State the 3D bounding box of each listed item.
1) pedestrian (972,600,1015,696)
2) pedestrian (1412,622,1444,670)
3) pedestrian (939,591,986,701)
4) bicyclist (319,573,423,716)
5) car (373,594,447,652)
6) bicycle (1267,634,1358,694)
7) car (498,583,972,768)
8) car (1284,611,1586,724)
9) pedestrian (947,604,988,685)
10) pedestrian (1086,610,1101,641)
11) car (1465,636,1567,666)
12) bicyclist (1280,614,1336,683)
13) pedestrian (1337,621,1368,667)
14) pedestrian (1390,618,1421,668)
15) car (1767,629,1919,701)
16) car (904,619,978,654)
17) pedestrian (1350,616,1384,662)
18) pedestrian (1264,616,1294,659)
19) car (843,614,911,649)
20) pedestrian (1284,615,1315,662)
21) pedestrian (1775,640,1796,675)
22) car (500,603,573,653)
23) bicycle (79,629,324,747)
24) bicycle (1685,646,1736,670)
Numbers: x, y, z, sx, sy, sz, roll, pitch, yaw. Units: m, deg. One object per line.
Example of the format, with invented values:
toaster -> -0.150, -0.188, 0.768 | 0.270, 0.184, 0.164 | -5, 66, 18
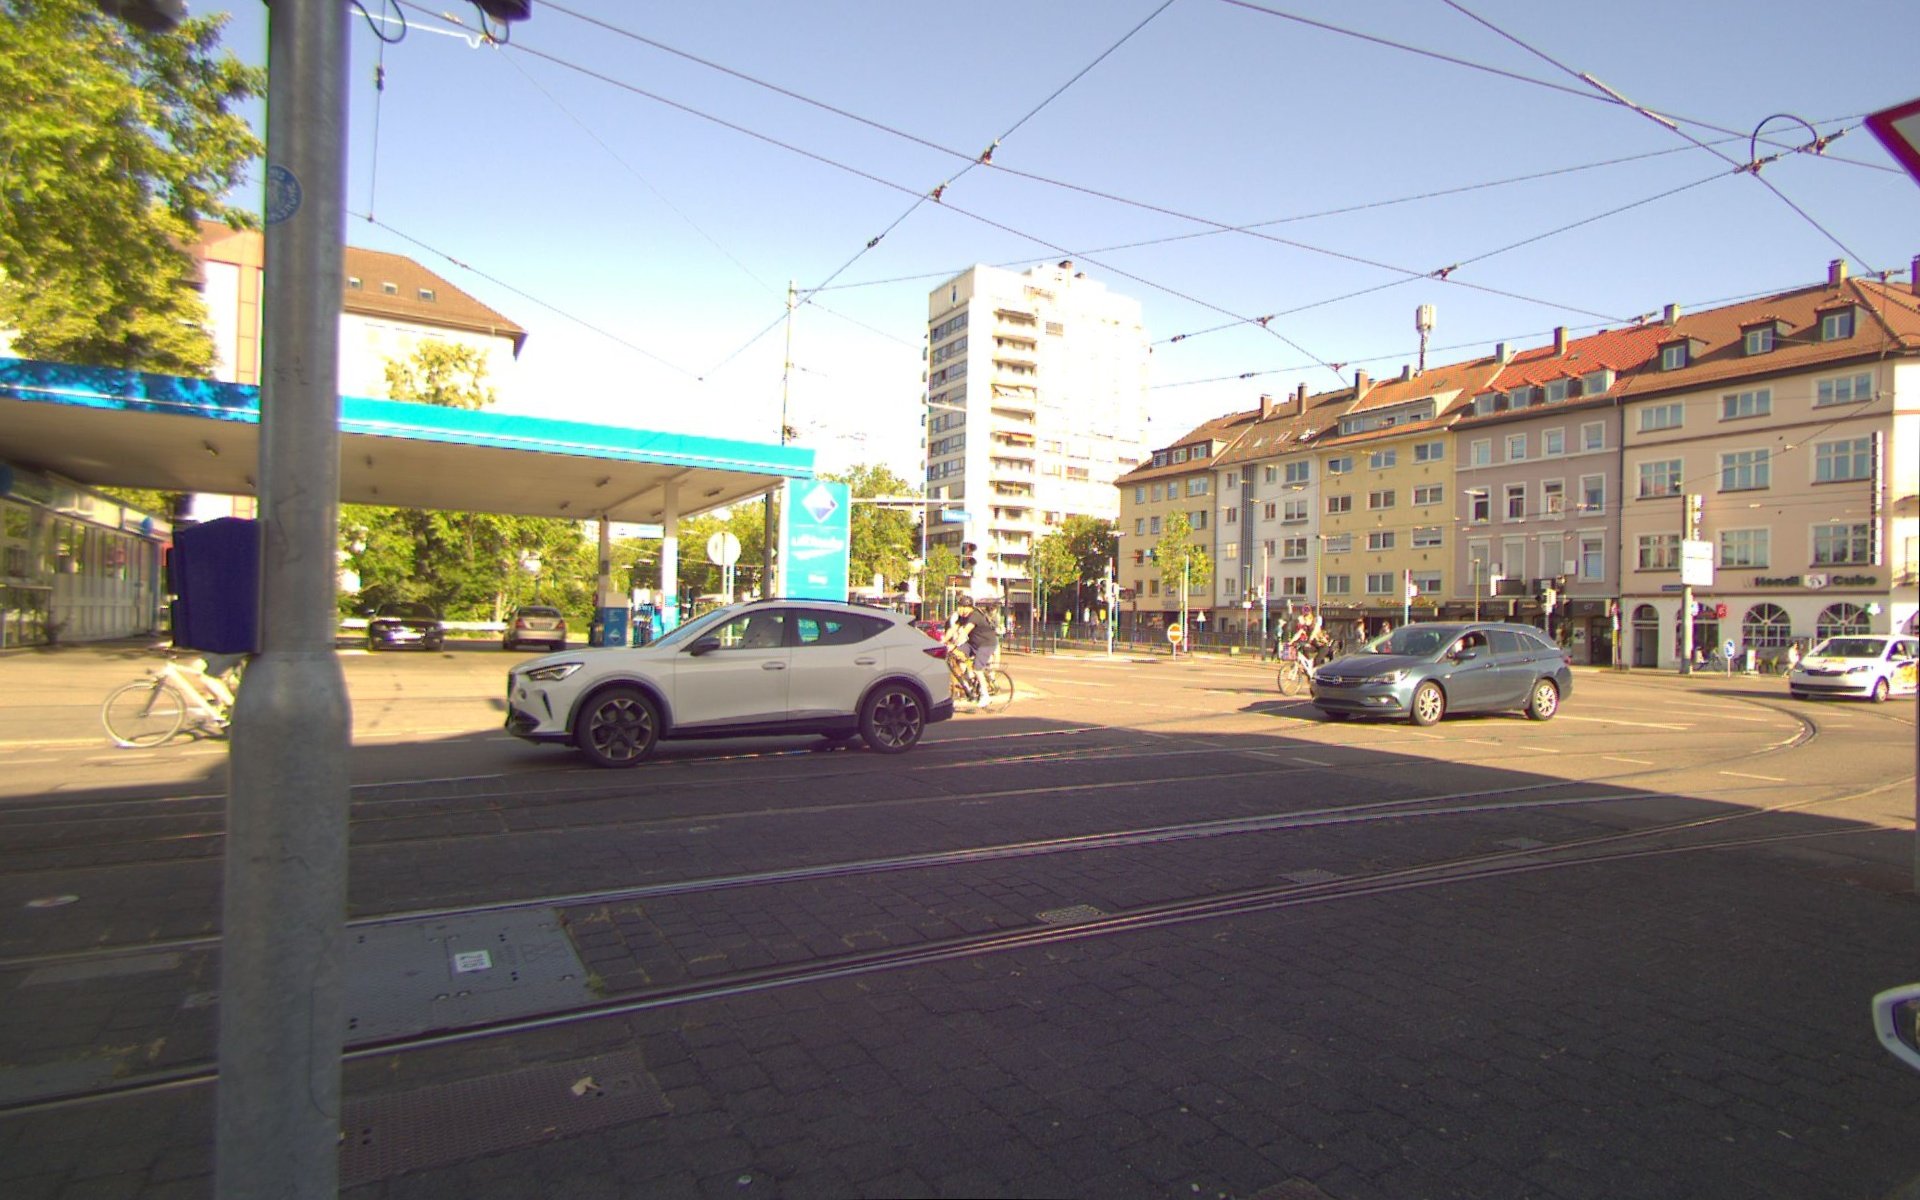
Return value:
pedestrian -> 0.644, 0.927, 19.661 | 0.727, 1.825, 0.742 | 1, -1, -5
pedestrian -> 17.628, 1.719, 37.812 | 0.815, 1.756, 0.781 | 2, -1, -35
pedestrian -> 0.038, 0.828, 18.181 | 0.577, 1.951, 0.626 | 2, -1, -29
bicyclist -> -6.810, 0.505, 11.657 | 0.975, 1.580, 0.711 | 2, -1, -30
car -> -15.634, 0.633, 28.515 | 1.697, 1.505, 4.186 | 2, -1, -30
bicycle -> 7.148, 1.296, 20.364 | 1.931, 1.181, 0.484 | 2, -1, -24
car -> -2.229, 0.688, 10.152 | 4.294, 1.517, 1.985 | 2, -1, -29
car -> 7.258, 0.975, 15.278 | 4.514, 1.517, 1.768 | 2, -1, -27
pedestrian -> 0.161, 0.987, 22.339 | 0.721, 1.752, 0.746 | 1, -1, -15
pedestrian -> 7.041, 1.332, 52.944 | 0.585, 1.589, 0.730 | 2, -1, -9
car -> 30.302, 2.752, 54.888 | 1.725, 1.459, 4.614 | 3, -2, -32
bicyclist -> 7.050, 0.973, 20.329 | 0.885, 1.357, 0.602 | 2, -1, -23
pedestrian -> 15.178, 1.693, 38.848 | 0.779, 1.756, 0.817 | 2, -1, -29
pedestrian -> 16.005, 1.537, 36.069 | 0.647, 1.756, 0.794 | 2, -1, -33
car -> 20.414, 1.463, 22.928 | 3.534, 1.517, 1.713 | 2, -1, -24
car -> -0.953, 1.708, 47.576 | 1.697, 1.505, 4.186 | 2, -1, -30
pedestrian -> 15.881, 1.509, 39.176 | 0.831, 1.756, 0.898 | 2, -1, -29
pedestrian -> 12.493, 1.472, 39.377 | 0.794, 1.652, 0.863 | 2, -1, -12
car -> -3.910, 1.453, 46.880 | 1.721, 1.539, 3.971 | 2, -1, -28
pedestrian -> 13.019, 1.472, 38.565 | 0.833, 1.746, 0.824 | 2, -1, -8
pedestrian -> 37.194, 2.577, 45.273 | 0.690, 1.544, 0.652 | 2, -1, -42
car -> -13.871, 0.897, 32.766 | 1.697, 1.505, 4.186 | 2, -1, -30
bicycle -> -8.122, 0.923, 10.877 | 2.032, 1.181, 0.483 | 2, -1, -30
bicycle -> 37.386, 2.873, 50.065 | 0.578, 1.081, 1.929 | 2, -1, -36
